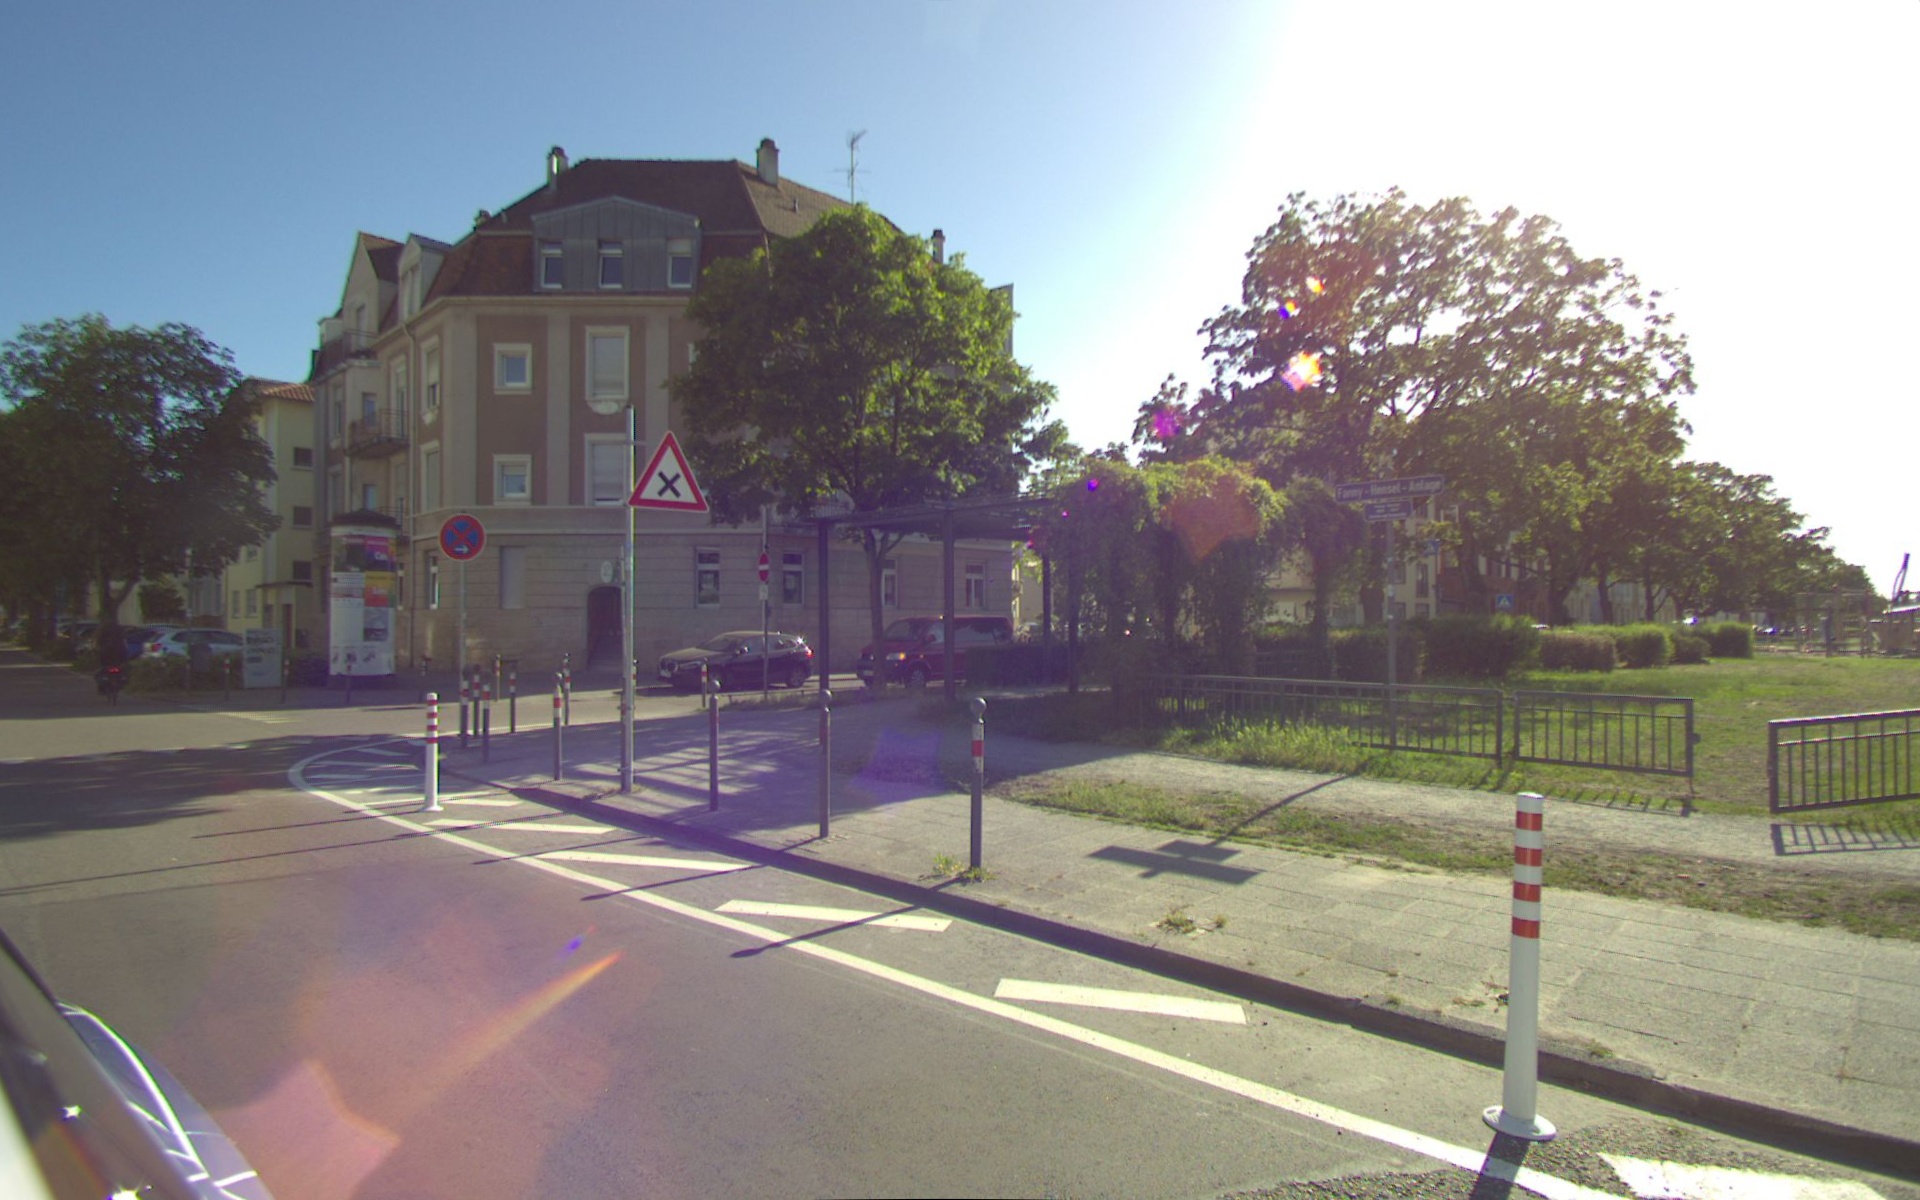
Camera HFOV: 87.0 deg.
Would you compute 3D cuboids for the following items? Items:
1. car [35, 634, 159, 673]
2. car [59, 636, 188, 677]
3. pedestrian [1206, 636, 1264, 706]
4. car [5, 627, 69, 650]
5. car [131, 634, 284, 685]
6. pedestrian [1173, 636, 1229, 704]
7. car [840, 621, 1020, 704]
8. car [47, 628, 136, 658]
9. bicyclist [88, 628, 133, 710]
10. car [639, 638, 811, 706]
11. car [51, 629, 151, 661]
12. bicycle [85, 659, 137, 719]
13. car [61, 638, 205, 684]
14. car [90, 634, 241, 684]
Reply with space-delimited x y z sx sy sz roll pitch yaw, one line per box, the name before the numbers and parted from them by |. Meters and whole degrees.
car | -37.005 2.248 43.471 1.686 1.506 3.751 -2 -1 31
car | -34.211 2.261 41.479 1.686 1.506 3.751 -2 -1 31
pedestrian | 4.709 1.193 17.299 0.862 1.147 0.599 2 -3 -45
car | -71.036 2.955 77.914 1.692 1.716 3.481 -2 -1 42
car | -24.324 1.889 32.797 1.692 1.455 3.739 -2 -1 41
pedestrian | 4.242 1.213 17.795 0.833 1.158 0.599 2 -3 -45
car | -0.697 1.594 27.026 1.898 1.975 4.814 0 -1 45
car | -47.701 2.343 55.604 1.690 1.506 3.484 -2 -1 39
bicyclist | -17.372 1.398 20.697 0.635 1.632 0.637 2 -3 -45
car | -6.026 1.805 26.276 1.867 1.494 3.959 2 0 41
car | -44.493 2.301 52.490 1.690 1.506 3.741 -2 -1 39
bicycle | -17.368 1.796 20.683 0.635 1.117 2.066 2 -3 -44
car | -30.041 2.174 36.869 1.686 1.506 3.751 -2 -1 31
car | -26.432 1.920 33.756 1.692 1.506 3.739 -2 -1 41
